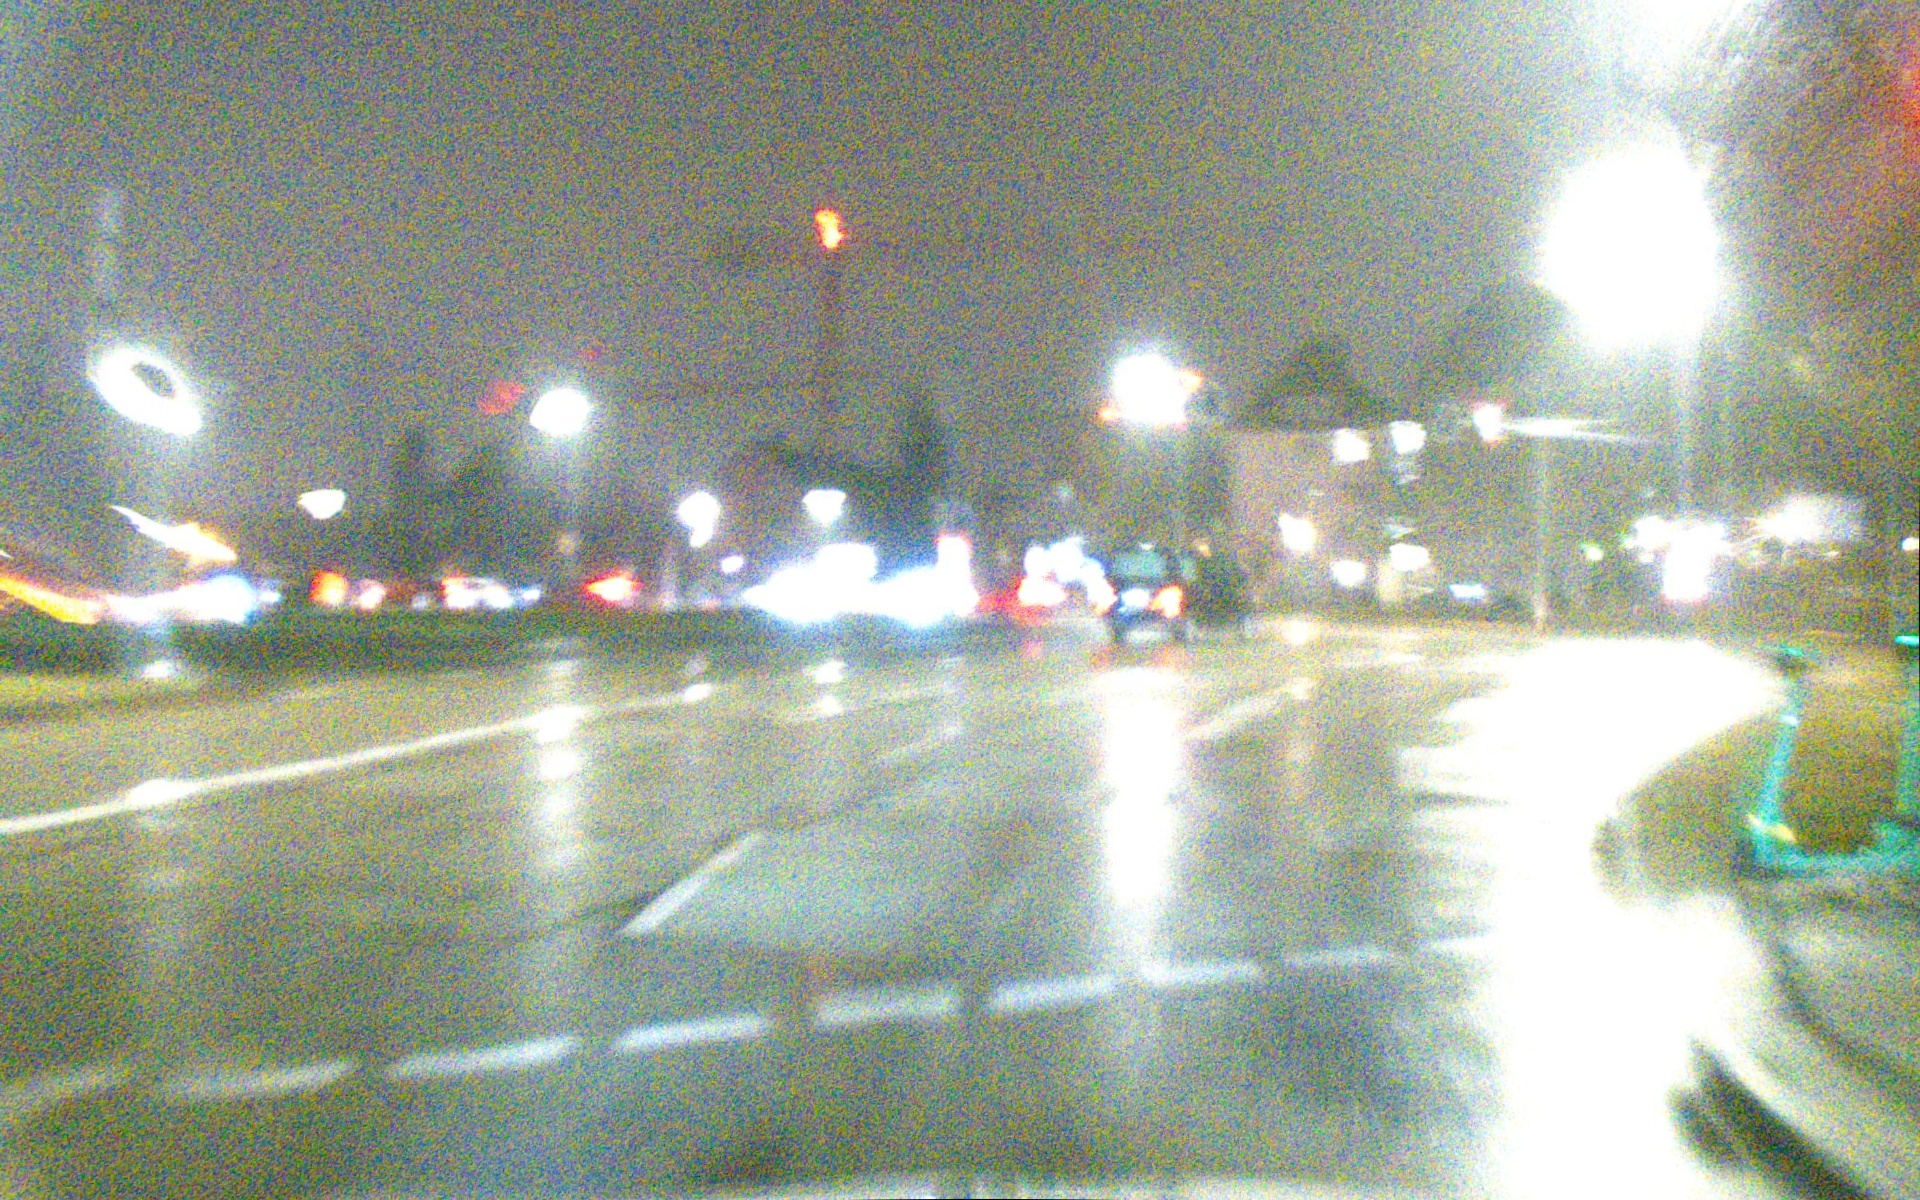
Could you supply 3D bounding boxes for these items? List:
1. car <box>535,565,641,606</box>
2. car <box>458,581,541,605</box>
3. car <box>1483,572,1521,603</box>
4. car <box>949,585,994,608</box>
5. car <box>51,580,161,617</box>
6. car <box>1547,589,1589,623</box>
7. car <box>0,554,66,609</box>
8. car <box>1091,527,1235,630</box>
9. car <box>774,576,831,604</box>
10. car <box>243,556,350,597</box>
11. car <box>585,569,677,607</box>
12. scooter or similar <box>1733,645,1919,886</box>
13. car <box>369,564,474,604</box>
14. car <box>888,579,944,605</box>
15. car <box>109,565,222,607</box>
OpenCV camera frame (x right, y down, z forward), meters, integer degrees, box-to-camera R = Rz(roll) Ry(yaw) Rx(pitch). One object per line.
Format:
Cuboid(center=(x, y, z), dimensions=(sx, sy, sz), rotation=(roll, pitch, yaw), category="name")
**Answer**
Cuboid(center=(-15.641, -0.602, 69.590), dimensions=(3.902, 1.644, 1.838), rotation=(1, 0, 14), category="car")
Cuboid(center=(-21.358, -0.318, 76.808), dimensions=(3.553, 1.049, 1.471), rotation=(1, 1, -12), category="car")
Cuboid(center=(27.614, -0.624, 84.382), dimensions=(1.680, 1.523, 3.914), rotation=(1, 1, 16), category="car")
Cuboid(center=(0.920, -0.280, 129.121), dimensions=(1.835, 1.789, 4.391), rotation=(1, 1, 25), category="car")
Cuboid(center=(-36.499, -0.056, 70.759), dimensions=(3.928, 1.512, 1.759), rotation=(1, 1, -20), category="car")
Cuboid(center=(30.606, 0.305, 83.325), dimensions=(1.680, 1.523, 3.913), rotation=(0, -3, 16), category="car")
Cuboid(center=(-38.612, -0.751, 64.599), dimensions=(6.244, 2.125, 2.483), rotation=(1, 1, -36), category="car")
Cuboid(center=(4.448, -0.455, 35.629), dimensions=(1.953, 2.049, 4.557), rotation=(1, 1, 22), category="car")
Cuboid(center=(-9.848, -0.632, 103.657), dimensions=(1.821, 1.668, 3.887), rotation=(1, 1, 26), category="car")
Cuboid(center=(-27.631, -0.971, 69.002), dimensions=(3.884, 1.606, 1.731), rotation=(1, 0, -13), category="car")
Cuboid(center=(-14.459, -0.523, 72.636), dimensions=(3.540, 1.606, 1.738), rotation=(1, 0, 14), category="car")
Cuboid(center=(4.343, 0.782, 7.957), dimensions=(1.078, 1.117, 0.318), rotation=(-1, 0, 17), category="scooter or similar")
Cuboid(center=(-22.672, -0.681, 69.730), dimensions=(3.876, 1.606, 1.874), rotation=(1, 0, -7), category="car")
Cuboid(center=(-3.080, -0.562, 117.499), dimensions=(1.955, 1.766, 4.613), rotation=(1, 1, 28), category="car")
Cuboid(center=(-32.659, -0.579, 68.078), dimensions=(3.926, 1.644, 1.827), rotation=(1, 0, -19), category="car")
